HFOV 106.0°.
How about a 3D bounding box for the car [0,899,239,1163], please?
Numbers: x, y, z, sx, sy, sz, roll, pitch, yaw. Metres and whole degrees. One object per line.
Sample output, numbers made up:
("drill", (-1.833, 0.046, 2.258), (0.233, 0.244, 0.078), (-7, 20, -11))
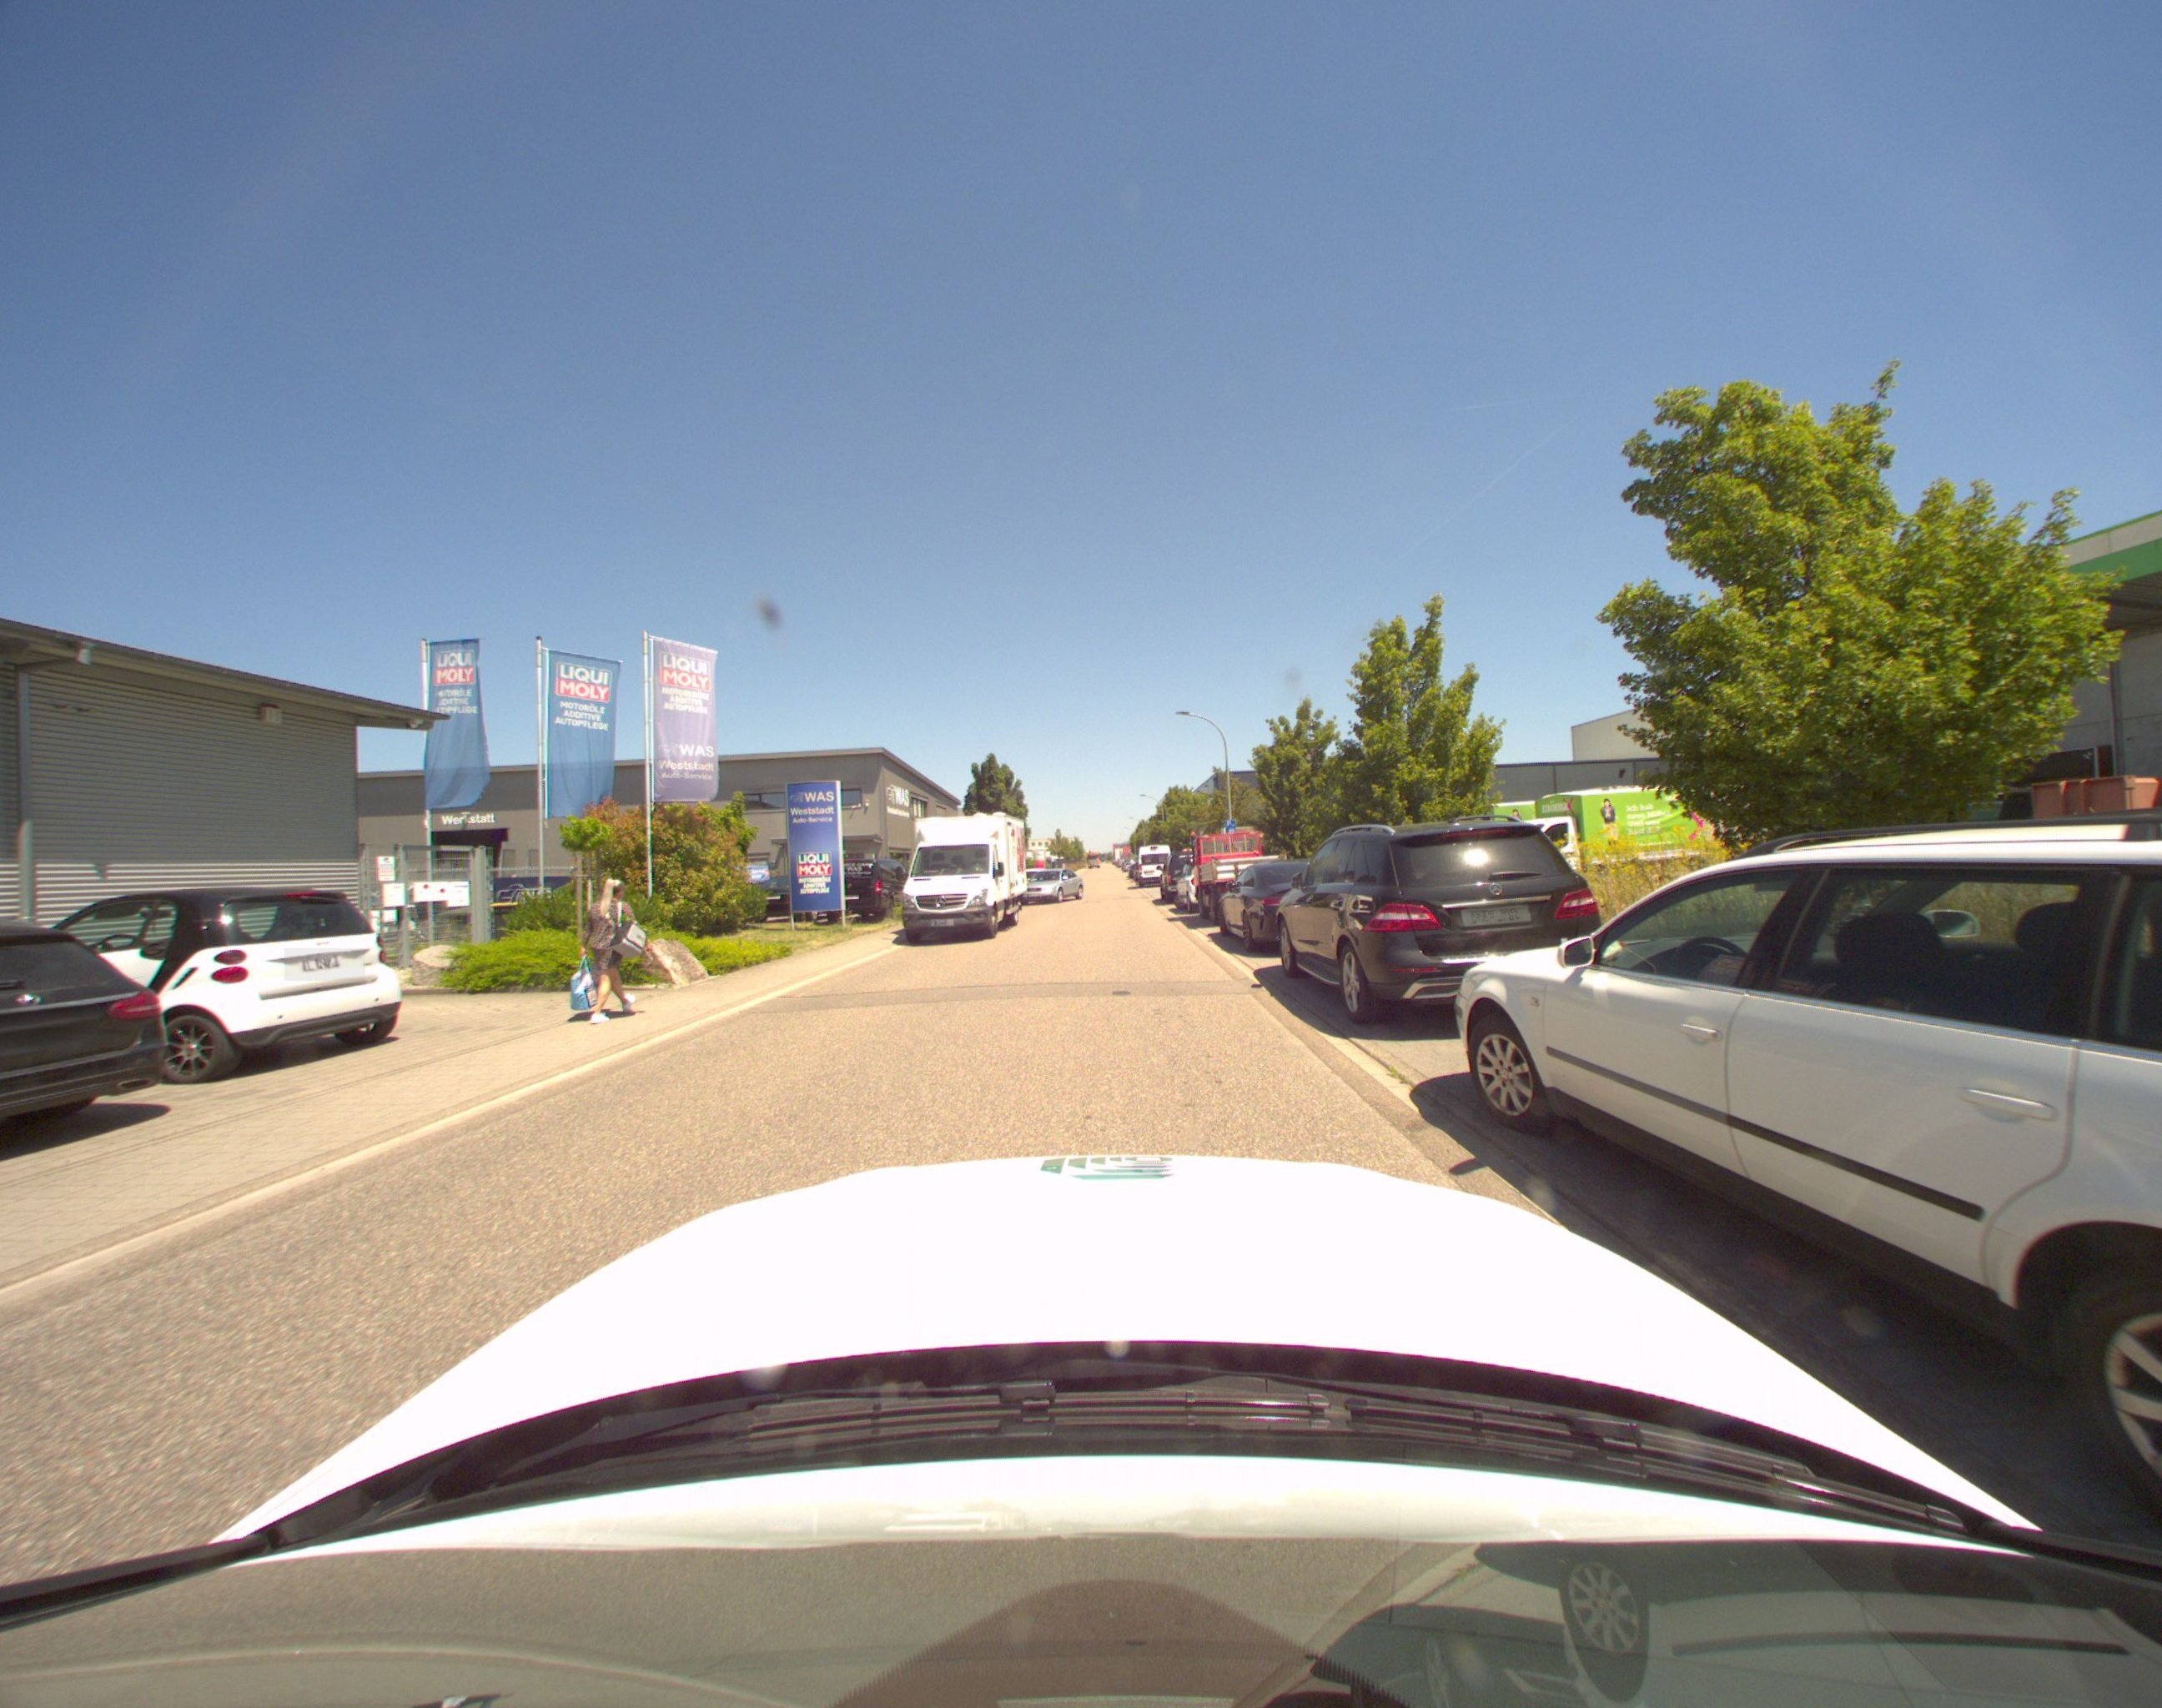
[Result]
("car", (-8.221, 1.105, 4.978), (4.291, 1.431, 1.848), (-2, -1, 2))

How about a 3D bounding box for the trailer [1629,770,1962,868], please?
("trailer", (32.880, -1.527, 37.857), (12.570, 3.876, 2.805), (-2, -2, 2))

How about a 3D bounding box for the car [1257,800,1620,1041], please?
("car", (3.244, 0.518, 8.614), (1.804, 1.725, 4.776), (-4, 0, 2))

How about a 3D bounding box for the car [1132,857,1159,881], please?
("car", (5.423, 1.281, 68.668), (1.986, 1.825, 4.355), (-3, -1, 1))

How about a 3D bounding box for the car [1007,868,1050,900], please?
("car", (-2.635, 1.496, 41.779), (1.723, 1.458, 4.493), (-2, -1, 2))

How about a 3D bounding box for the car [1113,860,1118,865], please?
("car", (9.732, 2.471, 229.787), (1.490, 1.409, 3.501), (-3, -1, 2))

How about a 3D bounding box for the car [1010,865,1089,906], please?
("car", (-1.248, 1.293, 34.741), (1.768, 1.422, 4.435), (-5, -1, 19))

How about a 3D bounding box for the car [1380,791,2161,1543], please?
("car", (2.930, 0.585, 3.054), (1.709, 1.483, 4.771), (-4, 0, -1))

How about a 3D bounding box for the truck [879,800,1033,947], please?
("truck", (-2.773, 0.445, 20.036), (2.352, 2.860, 6.418), (-4, -1, 2))

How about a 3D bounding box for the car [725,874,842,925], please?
("car", (-9.506, 1.408, 26.509), (1.924, 1.416, 4.771), (-1, -1, 2))

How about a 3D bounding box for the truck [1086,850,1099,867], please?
("truck", (2.618, 1.077, 180.327), (2.439, 3.513, 8.275), (-4, 0, 2))

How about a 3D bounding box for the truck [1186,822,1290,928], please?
("truck", (3.688, 0.486, 19.878), (1.673, 2.181, 4.391), (-4, -1, 1))

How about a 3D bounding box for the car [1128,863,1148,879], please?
("car", (5.680, 1.668, 80.927), (1.700, 1.504, 4.714), (-3, -1, 7))

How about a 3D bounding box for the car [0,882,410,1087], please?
("car", (-7.998, 1.081, 7.251), (2.731, 1.518, 1.535), (-2, -1, 0))

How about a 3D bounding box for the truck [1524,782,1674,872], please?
("truck", (24.096, -1.185, 38.094), (5.043, 3.876, 2.805), (-2, -2, 2))

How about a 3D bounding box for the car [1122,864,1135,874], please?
("car", (6.863, 2.169, 117.843), (1.712, 1.450, 3.647), (-3, -1, 2))

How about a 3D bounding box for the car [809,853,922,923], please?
("car", (-6.673, 1.007, 25.890), (1.986, 1.956, 5.219), (-2, -1, 2))

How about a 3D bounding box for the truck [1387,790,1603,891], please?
("truck", (13.488, -0.400, 26.862), (5.801, 2.913, 2.415), (-3, -1, 0))

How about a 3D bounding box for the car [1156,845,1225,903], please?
("car", (4.000, 0.728, 30.602), (1.986, 1.885, 5.158), (-4, -1, 2))

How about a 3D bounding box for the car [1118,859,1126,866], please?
("car", (8.243, 1.698, 165.032), (1.579, 1.409, 3.501), (-3, -1, 2))

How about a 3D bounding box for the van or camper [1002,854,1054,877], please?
("van or camper", (-7.778, 1.729, 120.133), (7.359, 3.037, 2.790), (-3, -1, 0))

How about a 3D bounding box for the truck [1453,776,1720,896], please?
("truck", (13.825, -0.463, 22.551), (5.886, 2.872, 2.305), (-3, -1, -2))

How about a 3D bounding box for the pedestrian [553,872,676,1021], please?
("pedestrian", (-5.199, 1.003, 9.126), (0.895, 1.574, 0.786), (0, -1, 2))

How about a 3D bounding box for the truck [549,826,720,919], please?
("truck", (-19.006, 0.788, 34.515), (7.960, 3.557, 2.603), (-1, -1, 30))

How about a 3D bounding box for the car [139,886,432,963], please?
("car", (-17.830, 1.504, 18.697), (1.924, 1.416, 4.771), (-1, -1, 2))

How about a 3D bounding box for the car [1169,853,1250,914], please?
("car", (3.744, 0.837, 24.356), (1.733, 1.531, 3.999), (-4, -1, 0))

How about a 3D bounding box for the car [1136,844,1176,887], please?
("car", (4.662, 0.722, 51.594), (2.257, 2.497, 6.158), (-3, -1, 4))

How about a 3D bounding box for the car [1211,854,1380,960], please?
("car", (3.419, 0.781, 13.941), (1.691, 1.383, 4.839), (-4, -1, 2))

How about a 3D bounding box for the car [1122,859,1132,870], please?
("car", (7.660, 1.800, 135.862), (1.715, 1.694, 3.986), (-3, -1, 3))
